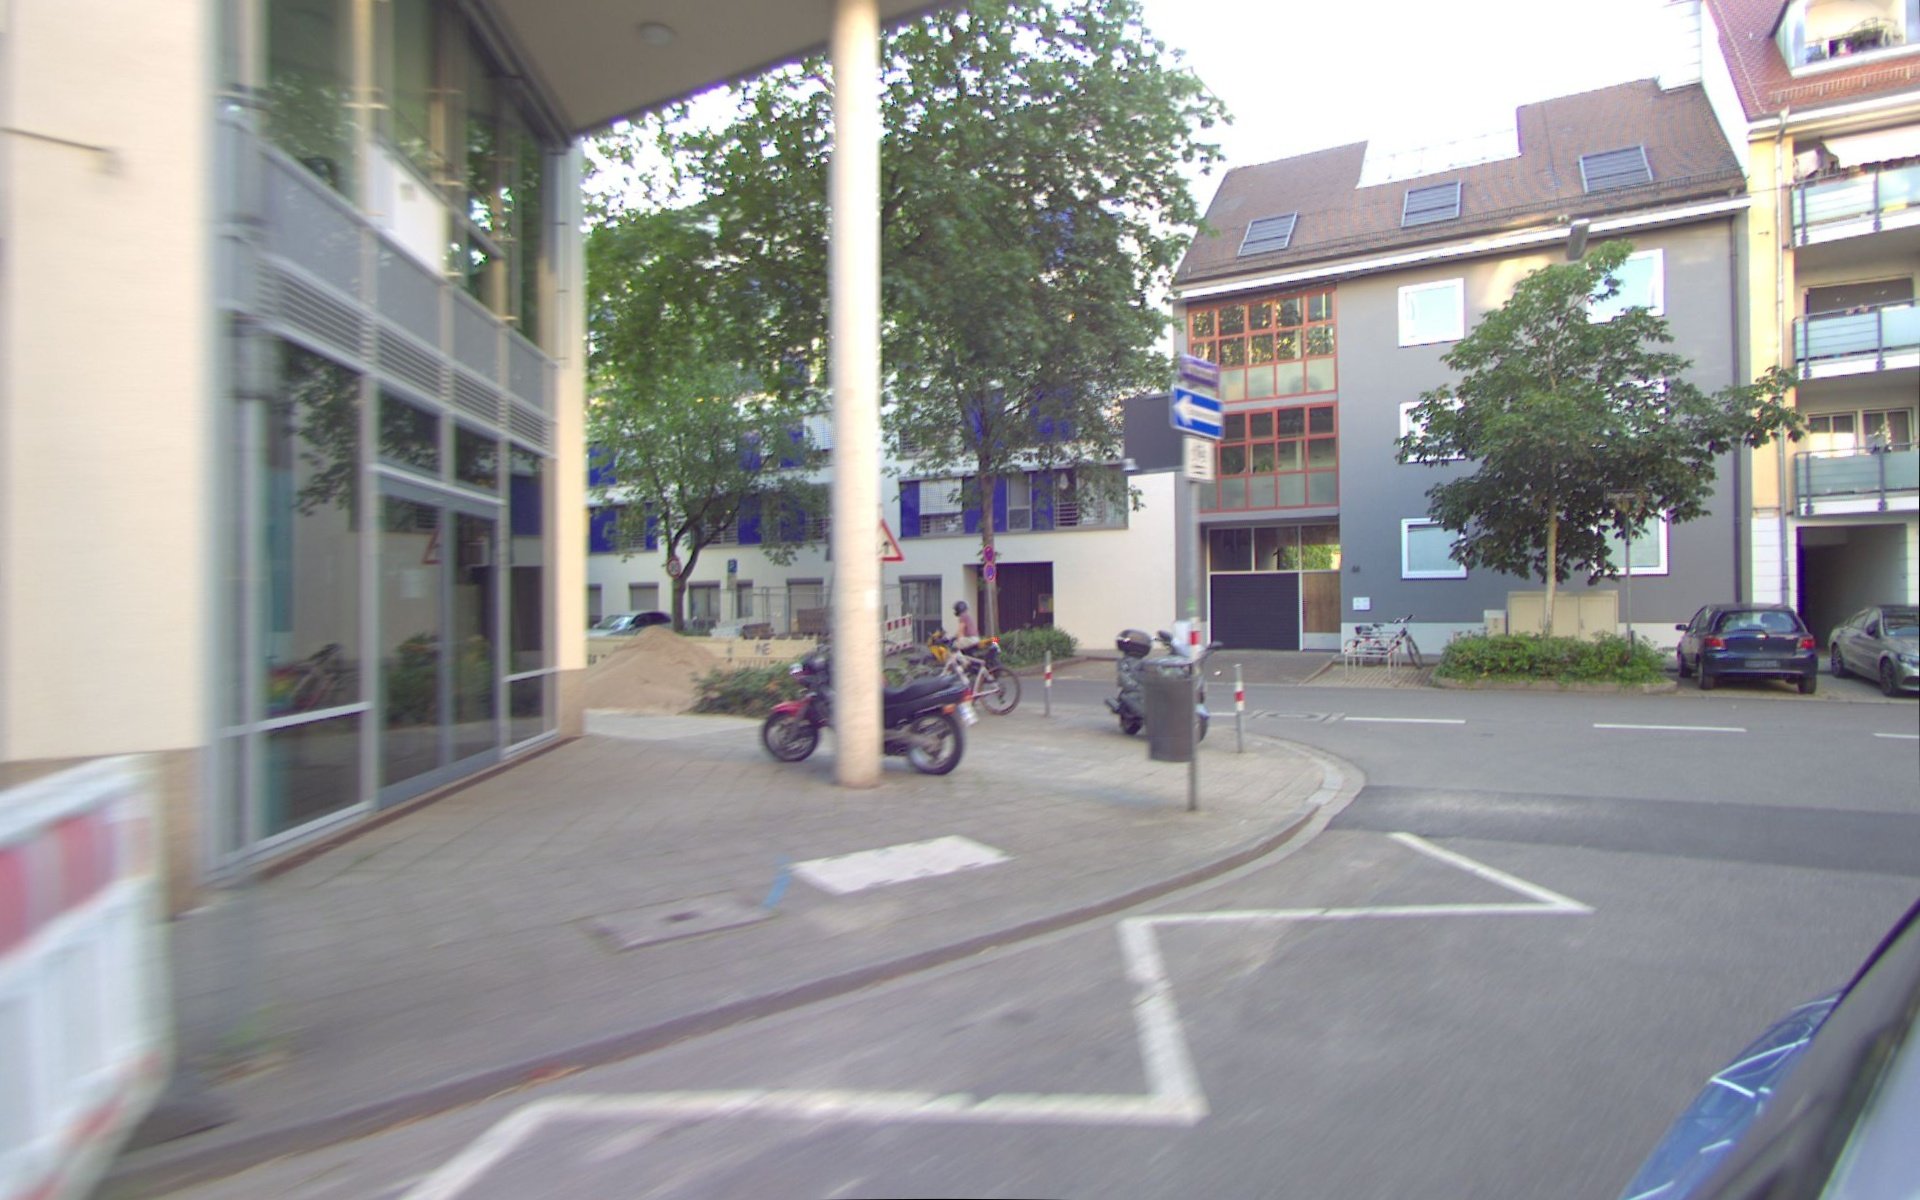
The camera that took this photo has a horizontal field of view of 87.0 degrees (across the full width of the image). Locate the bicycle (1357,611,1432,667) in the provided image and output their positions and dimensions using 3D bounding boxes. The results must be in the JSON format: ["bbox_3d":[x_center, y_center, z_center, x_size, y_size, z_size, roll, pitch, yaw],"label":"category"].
[{"bbox_3d":[9.901,0.868,23.043,1.487,1.186,0.721,0,3,30],"label":"bicycle"}]

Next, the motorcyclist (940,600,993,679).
[{"bbox_3d":[0.145,0.826,21.513,0.906,1.635,0.715,-1,-1,27],"label":"motorcyclist"}]

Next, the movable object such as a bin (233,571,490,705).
[{"bbox_3d":[-11.800,0.689,20.183,2.558,2.362,3.642,-1,-1,27],"label":"movable object such as a bin"}]

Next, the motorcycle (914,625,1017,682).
[{"bbox_3d":[0.106,1.111,21.517,2.087,1.136,0.729,0,-1,27],"label":"motorcycle"}]

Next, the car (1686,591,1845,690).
[{"bbox_3d":[14.523,0.650,18.436,1.731,1.545,3.327,-1,1,30],"label":"car"}]

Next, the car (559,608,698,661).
[{"bbox_3d":[-10.867,1.083,33.463,1.615,1.611,4.402,-1,-1,31],"label":"car"}]

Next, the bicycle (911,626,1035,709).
[{"bbox_3d":[0.182,0.979,15.084,1.784,1.132,0.597,0,0,30],"label":"bicycle"}]

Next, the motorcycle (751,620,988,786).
[{"bbox_3d":[-0.829,0.849,8.986,2.107,1.290,0.610,1,-1,29],"label":"motorcycle"}]

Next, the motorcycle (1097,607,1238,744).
[{"bbox_3d":[2.392,0.814,12.037,0.785,1.459,2.383,0,-1,-11],"label":"motorcycle"}]

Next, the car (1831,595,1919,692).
[{"bbox_3d":[16.833,0.692,17.406,1.854,1.527,4.251,-1,-1,28],"label":"car"}]

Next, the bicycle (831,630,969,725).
[{"bbox_3d":[-0.801,0.984,13.304,1.784,1.132,0.597,0,0,30],"label":"bicycle"}]
